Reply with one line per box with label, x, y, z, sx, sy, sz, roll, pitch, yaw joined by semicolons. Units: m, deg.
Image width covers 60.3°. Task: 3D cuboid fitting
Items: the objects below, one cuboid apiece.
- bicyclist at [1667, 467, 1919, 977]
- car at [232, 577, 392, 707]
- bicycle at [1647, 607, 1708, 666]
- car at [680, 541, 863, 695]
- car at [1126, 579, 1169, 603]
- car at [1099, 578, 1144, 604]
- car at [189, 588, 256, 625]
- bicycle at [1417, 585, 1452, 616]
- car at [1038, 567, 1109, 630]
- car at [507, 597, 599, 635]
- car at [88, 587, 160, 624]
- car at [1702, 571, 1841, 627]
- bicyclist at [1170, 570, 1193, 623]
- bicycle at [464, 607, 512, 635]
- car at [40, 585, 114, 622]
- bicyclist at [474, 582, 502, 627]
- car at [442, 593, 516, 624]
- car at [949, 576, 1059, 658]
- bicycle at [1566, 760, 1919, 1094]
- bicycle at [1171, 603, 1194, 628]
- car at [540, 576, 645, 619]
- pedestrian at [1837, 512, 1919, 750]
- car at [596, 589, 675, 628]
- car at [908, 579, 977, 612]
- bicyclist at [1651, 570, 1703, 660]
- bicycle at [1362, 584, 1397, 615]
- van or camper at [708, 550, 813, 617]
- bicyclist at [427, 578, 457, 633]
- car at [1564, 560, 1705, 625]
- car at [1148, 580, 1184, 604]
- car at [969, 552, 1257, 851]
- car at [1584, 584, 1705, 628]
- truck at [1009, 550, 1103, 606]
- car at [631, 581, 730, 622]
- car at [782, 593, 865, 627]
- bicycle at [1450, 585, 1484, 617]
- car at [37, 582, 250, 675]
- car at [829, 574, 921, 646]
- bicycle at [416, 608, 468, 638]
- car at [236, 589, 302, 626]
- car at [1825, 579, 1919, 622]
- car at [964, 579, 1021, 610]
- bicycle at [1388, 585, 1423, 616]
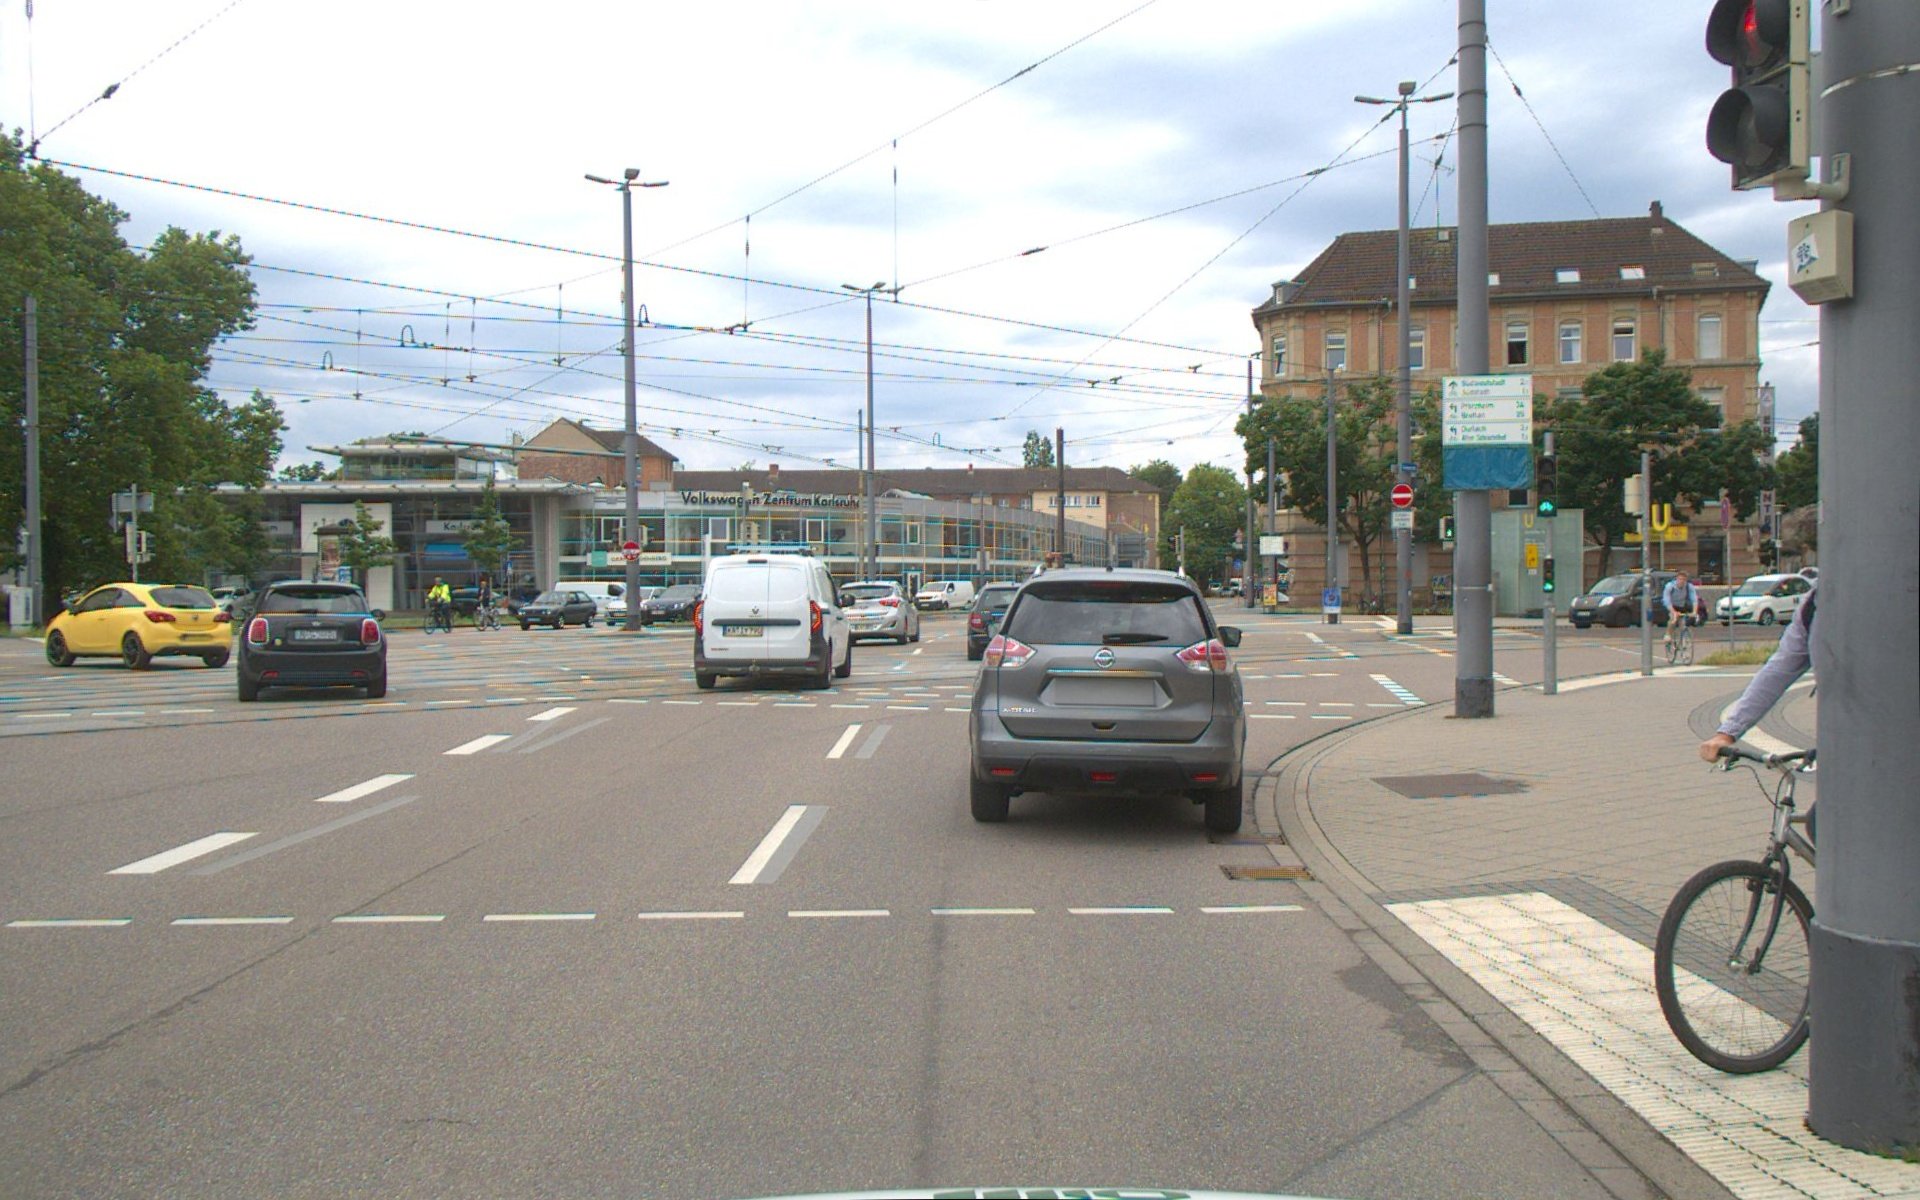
bicyclist;3.038;0.364;5.446;1.076;1.547;0.759;0;0;-6
car;-8.404;0.472;21.353;1.746;1.494;3.971;0;0;-23
bicycle;13.032;0.657;30.031;0.659;0.949;1.854;-3;0;33
car;-2.538;0.214;23.258;1.872;1.974;4.133;0;0;3
car;14.729;-0.702;129.696;1.954;1.871;4.520;0;0;25
car;12.029;-0.677;122.992;1.954;1.871;4.520;0;0;25
car;-42.489;0.366;95.396;1.952;2.049;4.001;1;0;2
bicycle;21.518;0.027;74.979;0.939;1.378;3.117;1;0;26
car;3.904;-0.042;56.551;1.951;2.049;4.003;1;0;10
car;-14.382;0.548;58.650;1.650;1.268;3.741;0;0;13
car;-48.018;0.312;95.047;1.952;2.049;4.001;1;0;2
car;29.139;-0.053;59.353;5.023;1.949;1.853;0;0;-27
bicyclist;7.275;-0.118;54.374;0.673;1.738;0.799;0;0;2
bicycle;-16.714;0.741;58.604;0.507;0.942;2.224;0;1;17
car;-50.853;0.193;95.343;1.952;2.049;4.001;1;0;2
bicyclist;-16.713;0.157;58.599;0.554;1.534;0.857;0;2;18
car;-22.926;0.394;78.947;1.600;1.445;3.740;0;0;16
car;0.858;0.291;31.600;1.952;1.445;4.001;0;0;2
bicycle;3.025;1.008;5.408;1.785;0.854;0.766;-2;0;-6
bicycle;7.326;0.509;54.440;0.606;0.807;1.592;0;0;2
car;-18.455;-0.132;83.090;4.664;2.049;2.123;1;0;14
pedestrian;7.883;0.244;13.777;0.866;1.900;1.286;0;0;22
car;-12.506;0.296;63.961;1.600;1.445;3.741;0;0;13
car;-0.979;-0.291;97.549;2.113;1.889;5.446;0;0;23
bicyclist;13.007;0.263;30.013;0.678;1.587;0.924;-2;1;33
bicycle;19.252;-0.008;75.836;0.939;1.378;3.117;1;0;26
van or camper;-8.252;-0.658;69.116;2.364;2.656;6.056;1;0;14
bicyclist;-17.463;0.187;55.819;0.614;1.835;0.798;0;0;18
car;20.871;-0.228;51.124;4.321;1.933;1.679;0;0;-28
car;17.004;-0.669;136.195;1.952;1.871;4.524;0;0;20
car;1.127;0.602;11.907;1.712;1.786;3.926;0;0;6
car;23.107;0.192;55.818;3.941;1.467;1.679;0;0;-28
truck;6.673;-1.447;113.264;2.741;3.611;9.209;1;0;28
car;-10.242;0.022;61.026;1.951;1.445;4.666;0;0;13
car;-6.180;0.424;75.415;1.952;1.445;4.802;0;0;20
bicycle;22.953;0.049;74.833;0.939;1.378;3.117;1;0;26
car;-14.652;0.471;29.624;3.920;1.520;1.817;1;0;36
car;-1.916;0.215;38.347;1.815;1.534;4.001;1;0;1
bicycle;-17.490;0.755;55.872;0.507;0.946;2.224;0;1;17
car;-39.711;0.407;95.109;1.952;2.049;4.001;1;0;2
car;34.822;0.016;62.316;4.237;1.561;1.853;0;-2;-27
car;2.073;-0.355;104.062;1.954;1.871;4.520;0;0;25
bicycle;20.314;0.009;75.425;0.939;1.378;3.117;1;0;26
